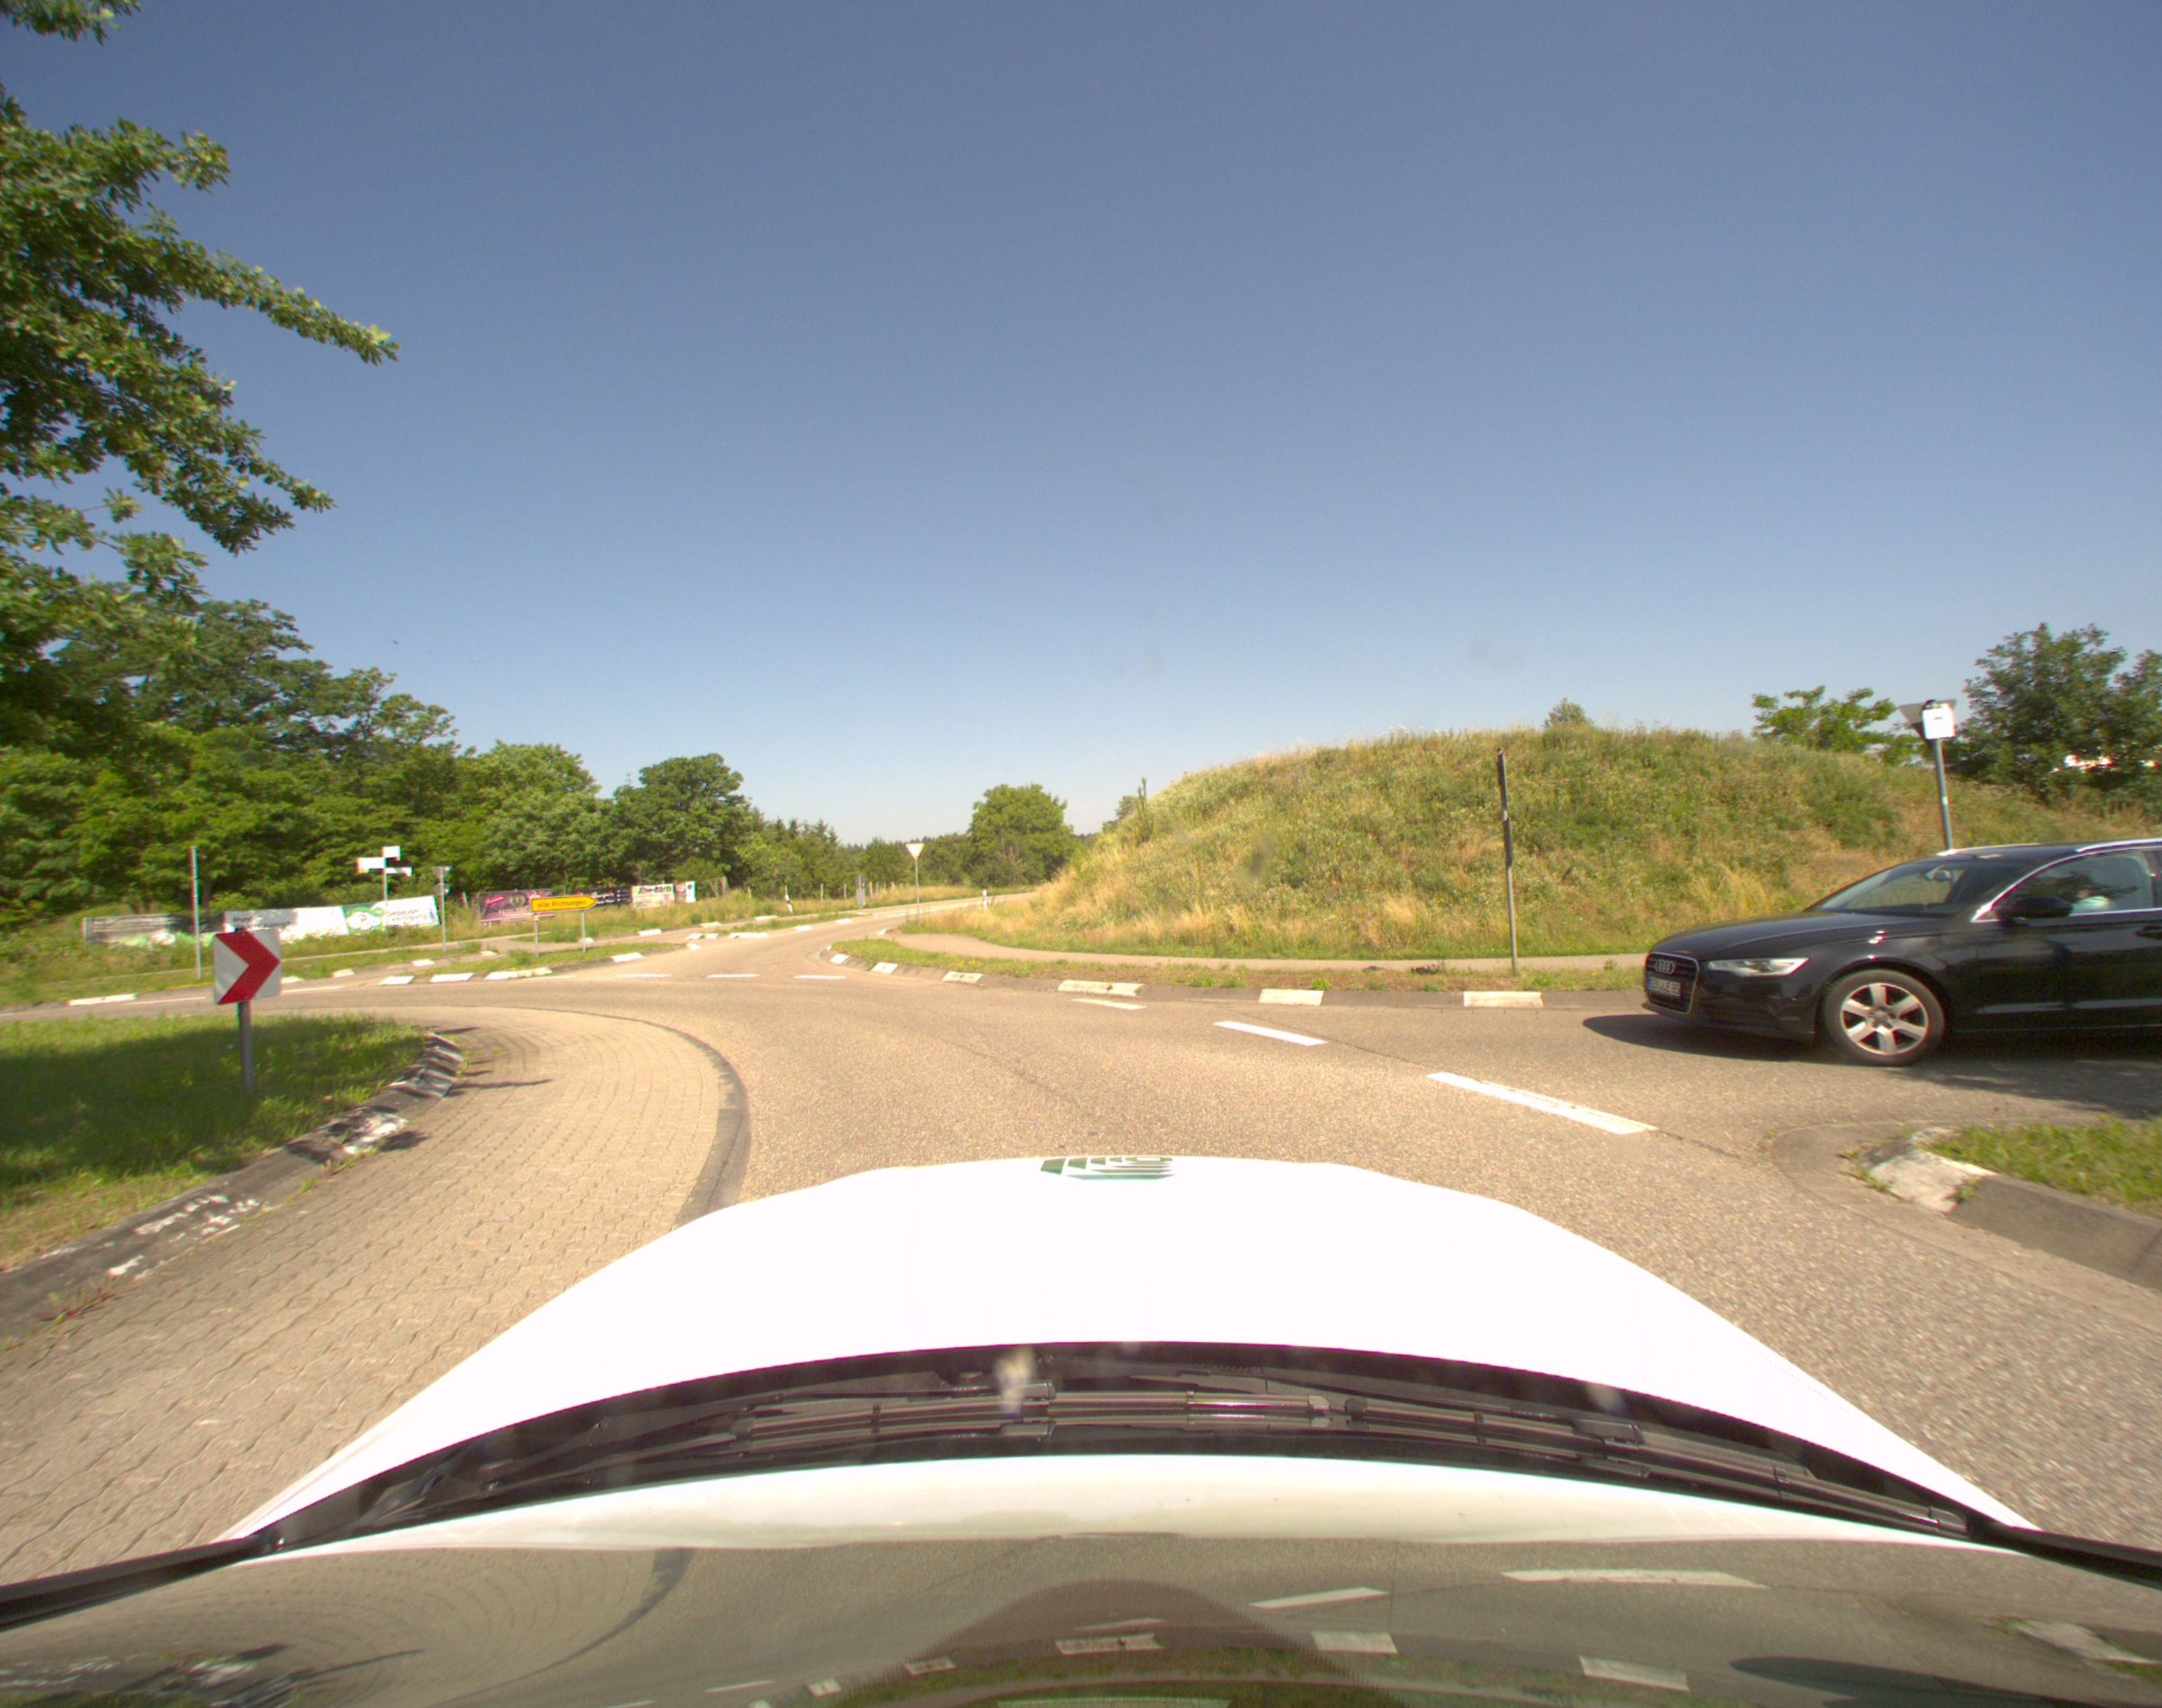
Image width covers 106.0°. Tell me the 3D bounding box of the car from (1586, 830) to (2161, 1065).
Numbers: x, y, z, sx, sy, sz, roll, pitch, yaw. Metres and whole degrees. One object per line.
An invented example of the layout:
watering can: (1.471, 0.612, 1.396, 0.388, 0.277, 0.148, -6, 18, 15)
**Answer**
car: (6.919, 0.617, 6.127, 4.865, 1.434, 1.929, -4, -3, 11)
